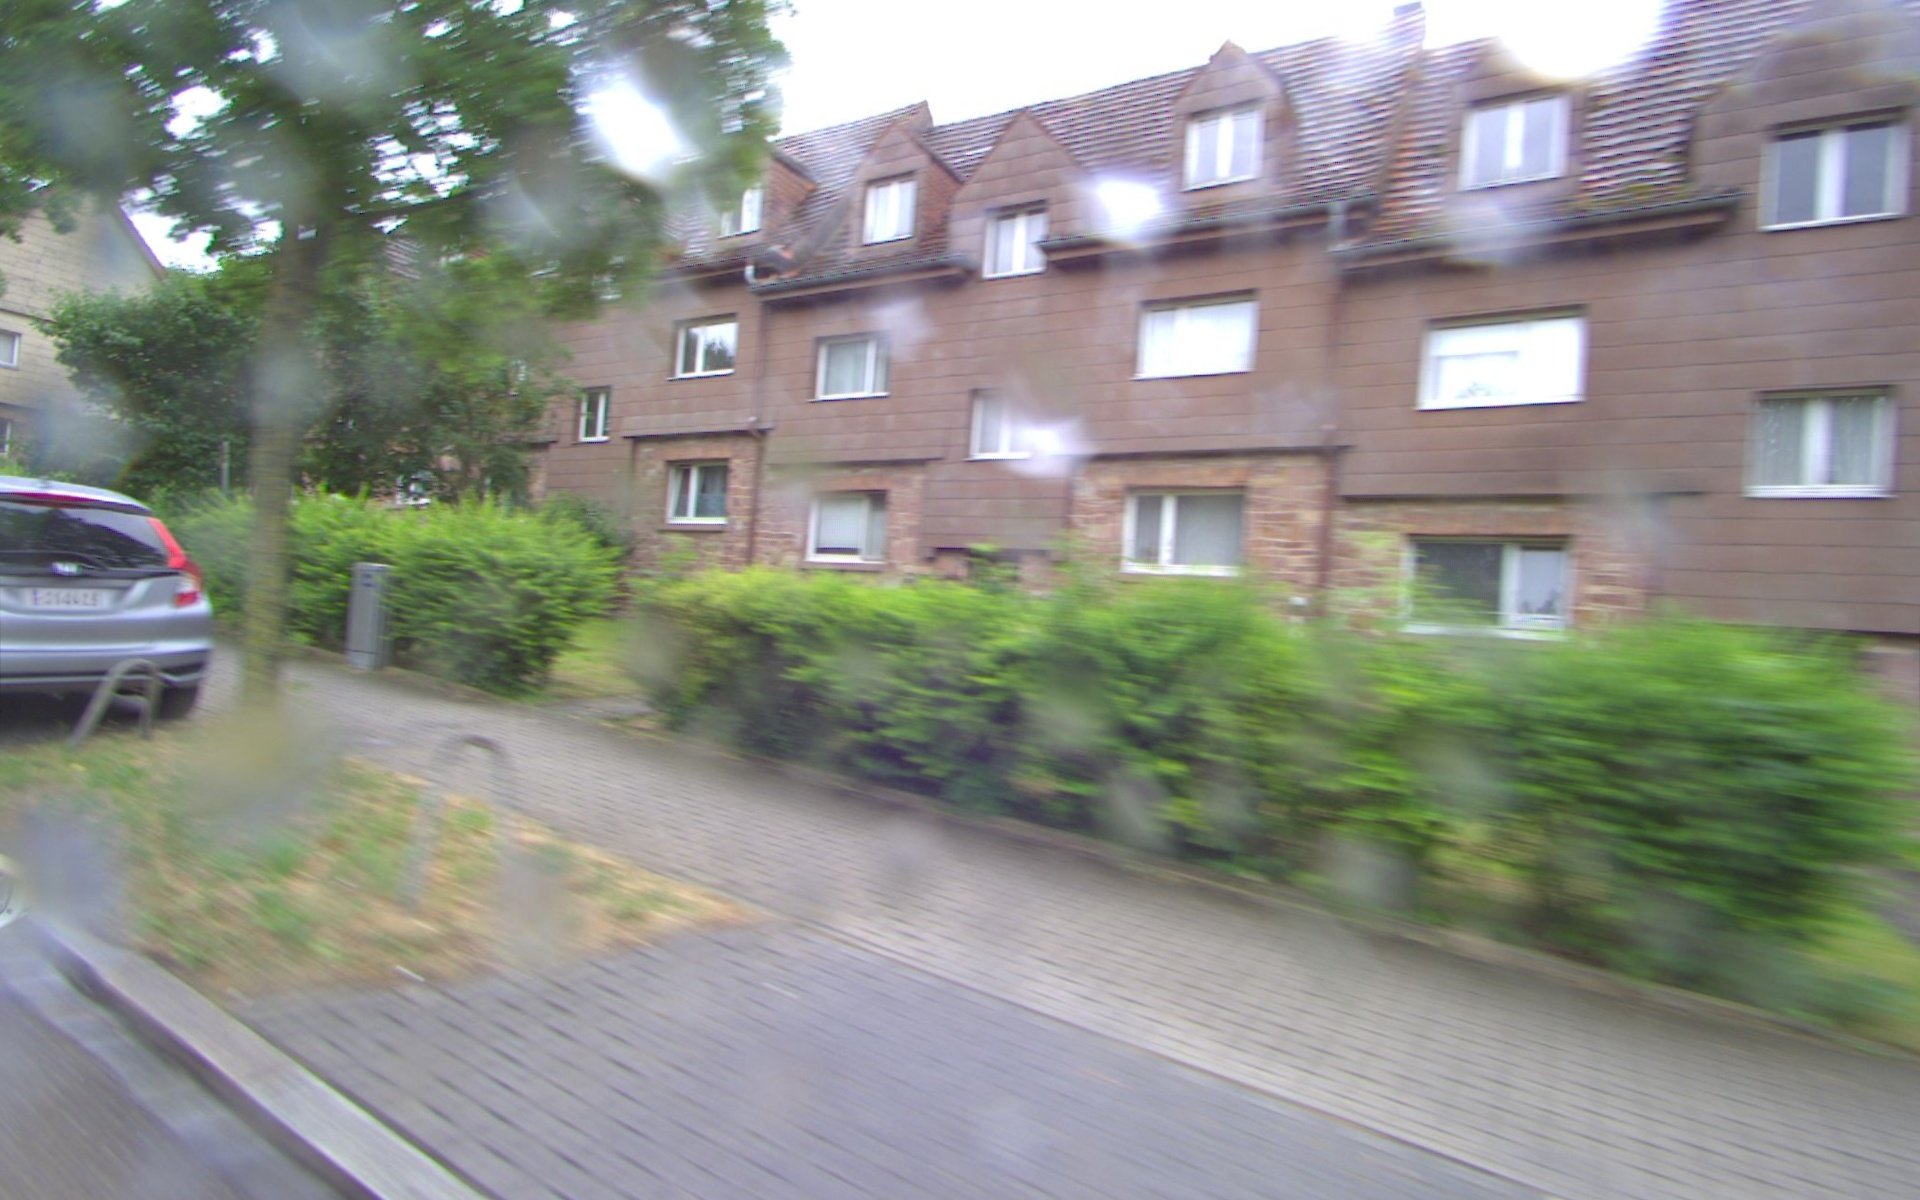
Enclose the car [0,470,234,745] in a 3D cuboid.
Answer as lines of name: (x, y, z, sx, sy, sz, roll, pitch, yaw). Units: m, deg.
car: (-6.774, -0.123, 6.943, 3.771, 1.549, 1.667, 7, 3, 35)
